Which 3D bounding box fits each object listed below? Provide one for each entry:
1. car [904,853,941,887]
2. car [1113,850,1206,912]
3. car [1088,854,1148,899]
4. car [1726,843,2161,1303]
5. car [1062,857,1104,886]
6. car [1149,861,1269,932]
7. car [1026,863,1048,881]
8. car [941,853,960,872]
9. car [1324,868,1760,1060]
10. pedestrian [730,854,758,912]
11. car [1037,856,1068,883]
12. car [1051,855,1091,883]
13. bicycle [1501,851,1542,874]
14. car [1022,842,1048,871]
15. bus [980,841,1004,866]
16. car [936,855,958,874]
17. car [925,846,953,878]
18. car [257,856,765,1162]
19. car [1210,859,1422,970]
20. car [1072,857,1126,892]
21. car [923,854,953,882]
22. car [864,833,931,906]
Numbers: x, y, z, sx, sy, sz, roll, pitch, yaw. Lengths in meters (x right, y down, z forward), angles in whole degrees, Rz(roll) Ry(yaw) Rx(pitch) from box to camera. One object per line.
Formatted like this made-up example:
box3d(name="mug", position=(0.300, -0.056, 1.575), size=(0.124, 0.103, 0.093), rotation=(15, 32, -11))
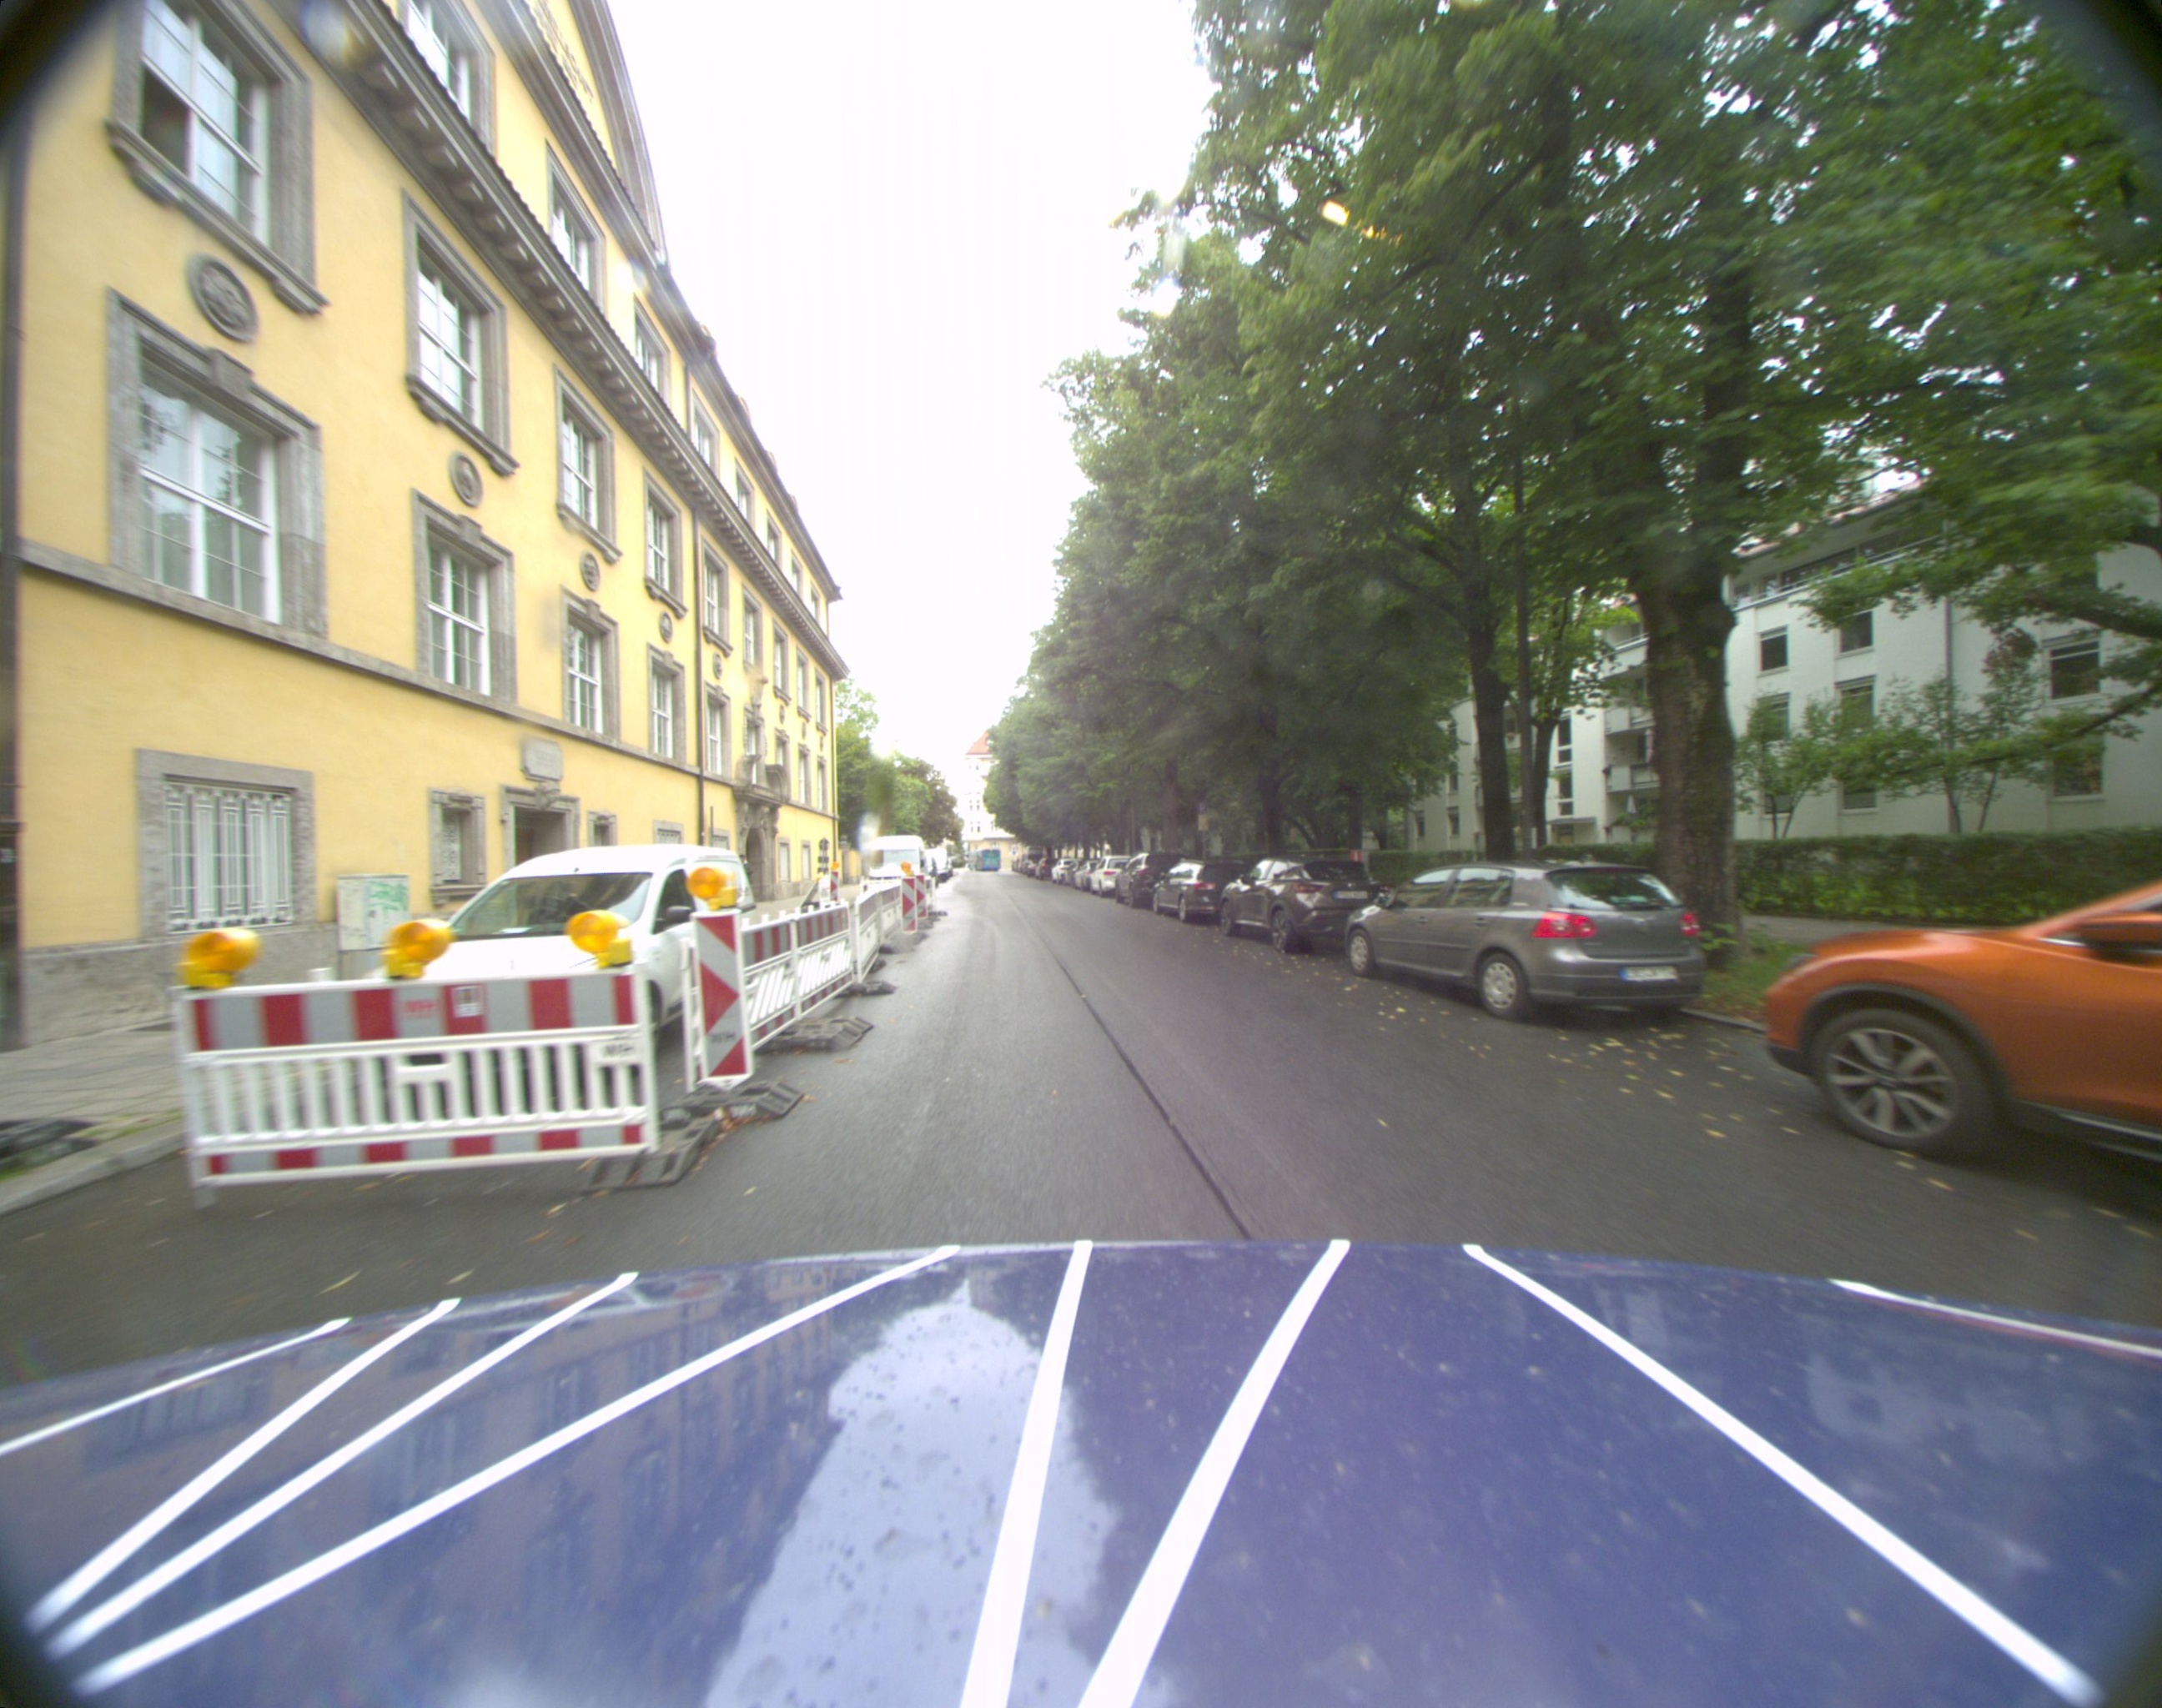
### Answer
box3d(name="car", position=(-9.379, 0.896, 45.351), size=(1.877, 1.858, 4.982), rotation=(-1, 1, -9))
box3d(name="car", position=(2.383, 0.775, 24.481), size=(2.000, 1.786, 4.917), rotation=(0, 0, -6))
box3d(name="car", position=(1.429, 0.861, 31.098), size=(1.771, 1.612, 4.519), rotation=(1, 0, -6))
box3d(name="car", position=(5.064, 0.824, 2.376), size=(1.878, 1.718, 4.638), rotation=(-1, 1, -6))
box3d(name="car", position=(0.045, 0.936, 42.117), size=(1.677, 1.461, 4.100), rotation=(-1, 1, -9))
box3d(name="car", position=(3.029, 0.942, 18.991), size=(1.724, 1.442, 4.692), rotation=(-1, 1, -6))
box3d(name="car", position=(-3.850, 1.534, 65.802), size=(1.795, 1.429, 4.549), rotation=(-1, 0, -5))
box3d(name="car", position=(-13.749, 0.851, 80.172), size=(1.865, 1.956, 5.440), rotation=(-1, 1, -9))
box3d(name="car", position=(4.432, 0.911, 8.233), size=(1.733, 1.414, 4.248), rotation=(-1, 0, -8))
box3d(name="pedestrian", position=(-10.686, 0.905, 24.107), size=(0.702, 1.794, 0.582), rotation=(1, 1, -8))
box3d(name="car", position=(-2.168, 1.111, 56.584), size=(1.790, 1.866, 4.544), rotation=(0, 0, -9))
box3d(name="car", position=(-0.683, 0.876, 47.028), size=(1.790, 1.588, 4.580), rotation=(-1, 1, -9))
box3d(name="bicycle", position=(21.676, 0.423, 37.428), size=(0.642, 1.101, 1.901), rotation=(-2, 0, -12))
box3d(name="car", position=(-4.781, 0.210, 78.103), size=(1.951, 2.838, 6.229), rotation=(-1, 1, -9))
box3d(name="bus", position=(-12.927, -0.176, 109.508), size=(2.869, 3.221, 18.408), rotation=(-1, 1, -8))
box3d(name="car", position=(-13.078, 0.977, 74.406), size=(1.865, 1.731, 4.599), rotation=(-2, 1, -8))
box3d(name="car", position=(-11.905, 0.599, 64.010), size=(2.102, 2.473, 5.734), rotation=(-1, 1, -9))
box3d(name="car", position=(-4.372, 0.945, 6.859), size=(1.745, 1.740, 4.352), rotation=(-1, 1, -8))
box3d(name="car", position=(3.807, 0.891, 13.244), size=(1.792, 1.565, 4.483), rotation=(0, 0, -8))
box3d(name="car", position=(0.775, 0.917, 36.378), size=(1.815, 1.461, 4.993), rotation=(-1, 1, -8))
box3d(name="car", position=(-10.694, 0.982, 56.758), size=(2.020, 1.895, 5.158), rotation=(-2, 1, -11))
box3d(name="car", position=(-7.465, 0.528, 31.651), size=(2.061, 2.657, 7.607), rotation=(-1, 1, -9))
